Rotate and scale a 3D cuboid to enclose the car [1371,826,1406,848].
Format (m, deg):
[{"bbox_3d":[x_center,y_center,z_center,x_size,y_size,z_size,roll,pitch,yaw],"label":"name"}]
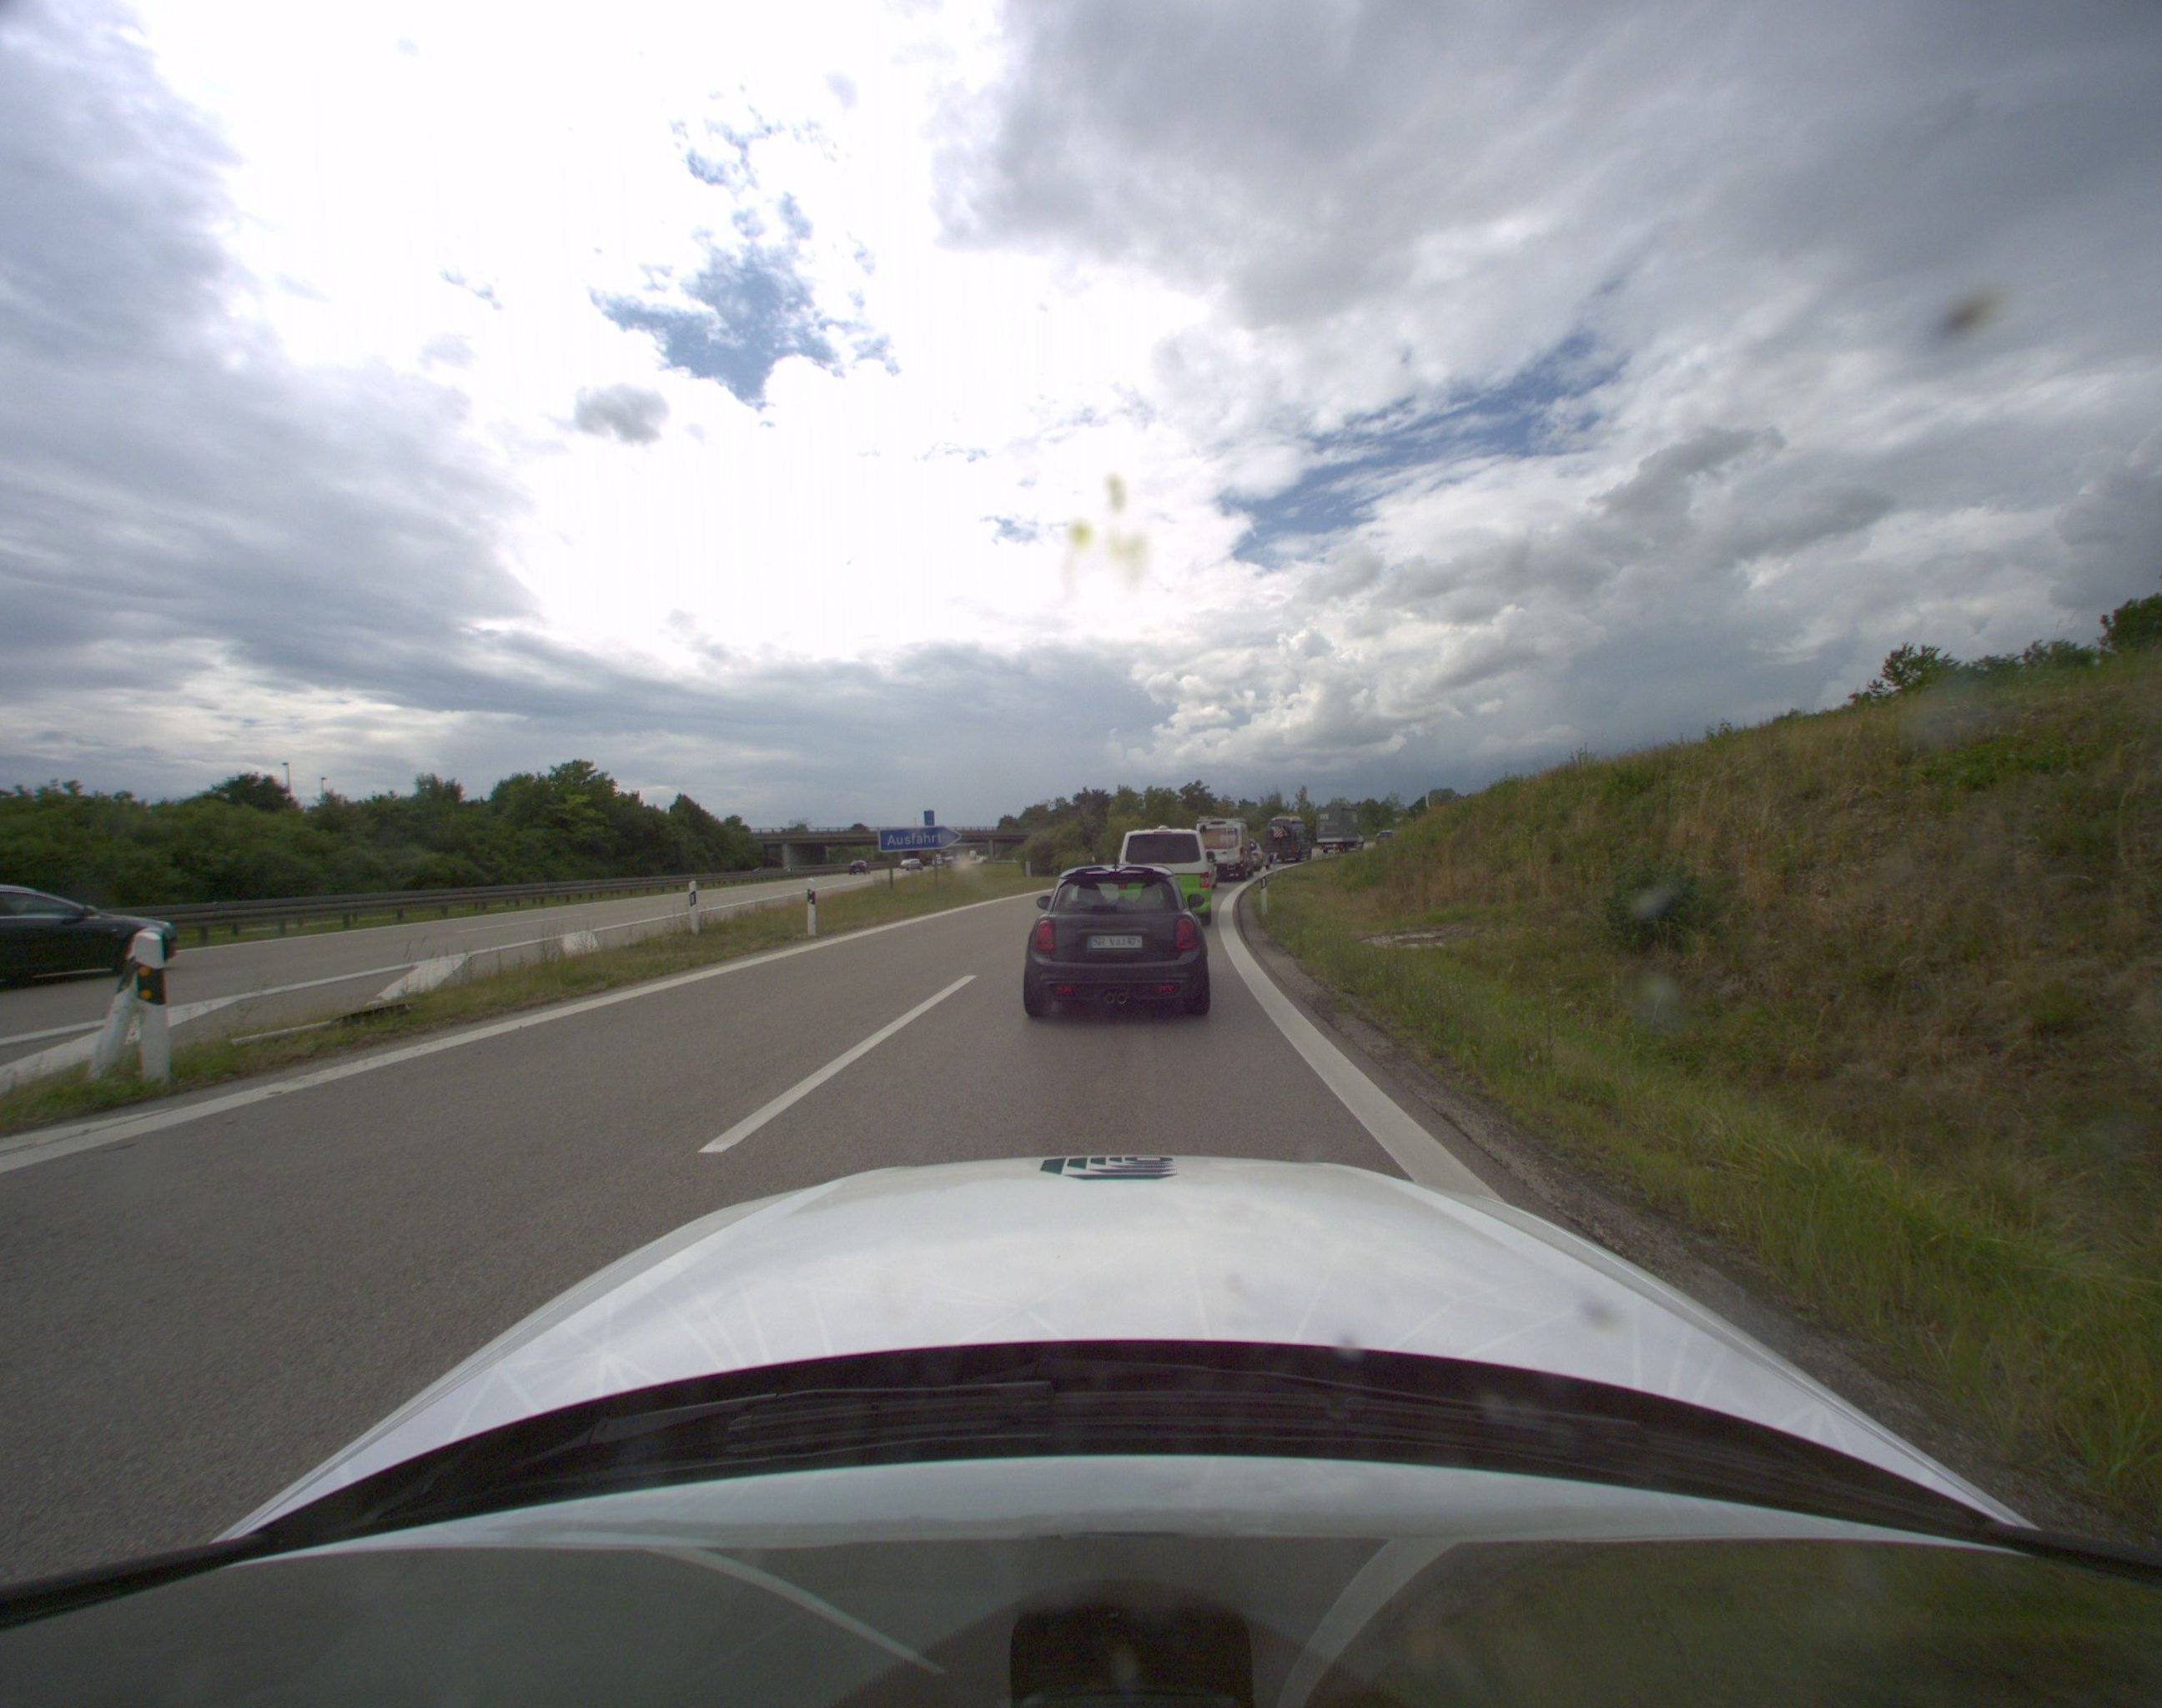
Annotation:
[{"bbox_3d":[28.816,-1.562,76.216,1.974,2.014,4.025,-1,-1,36],"label":"car"}]

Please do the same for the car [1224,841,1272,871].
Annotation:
[{"bbox_3d":[8.970,0.092,43.599,1.850,1.510,4.021,-2,0,21],"label":"car"}]

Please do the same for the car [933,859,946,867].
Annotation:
[{"bbox_3d":[-24.627,1.599,142.214,1.776,1.398,4.023,-2,0,-4],"label":"car"}]

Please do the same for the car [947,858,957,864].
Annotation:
[{"bbox_3d":[-36.457,1.864,229.963,2.156,1.670,4.300,-2,0,-4],"label":"car"}]

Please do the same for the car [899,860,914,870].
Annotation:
[{"bbox_3d":[-26.834,1.631,125.174,1.778,1.398,4.295,-2,0,-7],"label":"car"}]

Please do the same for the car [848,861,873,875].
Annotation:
[{"bbox_3d":[-23.686,1.514,87.429,1.777,1.398,4.299,-2,0,-5],"label":"car"}]

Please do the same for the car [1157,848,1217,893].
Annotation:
[{"bbox_3d":[3.677,0.517,27.751,1.751,1.398,3.737,-2,0,11],"label":"car"}]

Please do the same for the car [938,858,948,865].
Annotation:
[{"bbox_3d":[-34.842,1.796,205.265,2.092,1.670,4.300,-2,0,-4],"label":"car"}]

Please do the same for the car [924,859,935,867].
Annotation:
[{"bbox_3d":[-30.717,1.781,165.035,1.778,1.398,4.295,-2,0,-7],"label":"car"}]

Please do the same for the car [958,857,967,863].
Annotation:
[{"bbox_3d":[-33.731,1.790,231.565,2.092,1.670,4.300,-2,0,-4],"label":"car"}]

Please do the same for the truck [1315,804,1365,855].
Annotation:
[{"bbox_3d":[21.143,-1.898,66.356,2.207,3.906,6.054,-1,-1,34],"label":"truck"}]

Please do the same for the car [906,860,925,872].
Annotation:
[{"bbox_3d":[-20.832,1.451,102.759,1.777,1.398,4.543,-2,0,-5],"label":"car"}]

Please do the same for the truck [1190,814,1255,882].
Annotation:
[{"bbox_3d":[6.194,-0.285,35.186,2.162,2.658,5.131,-2,1,16],"label":"truck"}]

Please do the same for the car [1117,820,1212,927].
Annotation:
[{"bbox_3d":[1.900,0.369,17.535,1.773,2.013,4.010,-1,0,9],"label":"car"}]

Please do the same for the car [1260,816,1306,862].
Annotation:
[{"bbox_3d":[12.909,-0.912,51.883,2.086,2.796,4.023,-1,0,24],"label":"car"}]

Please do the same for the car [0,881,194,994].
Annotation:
[{"bbox_3d":[-15.207,1.185,10.887,1.720,1.424,4.787,-2,0,-6],"label":"car"}]

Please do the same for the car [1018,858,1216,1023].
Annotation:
[{"bbox_3d":[0.396,0.773,9.078,1.720,1.413,3.727,-1,0,2],"label":"car"}]
